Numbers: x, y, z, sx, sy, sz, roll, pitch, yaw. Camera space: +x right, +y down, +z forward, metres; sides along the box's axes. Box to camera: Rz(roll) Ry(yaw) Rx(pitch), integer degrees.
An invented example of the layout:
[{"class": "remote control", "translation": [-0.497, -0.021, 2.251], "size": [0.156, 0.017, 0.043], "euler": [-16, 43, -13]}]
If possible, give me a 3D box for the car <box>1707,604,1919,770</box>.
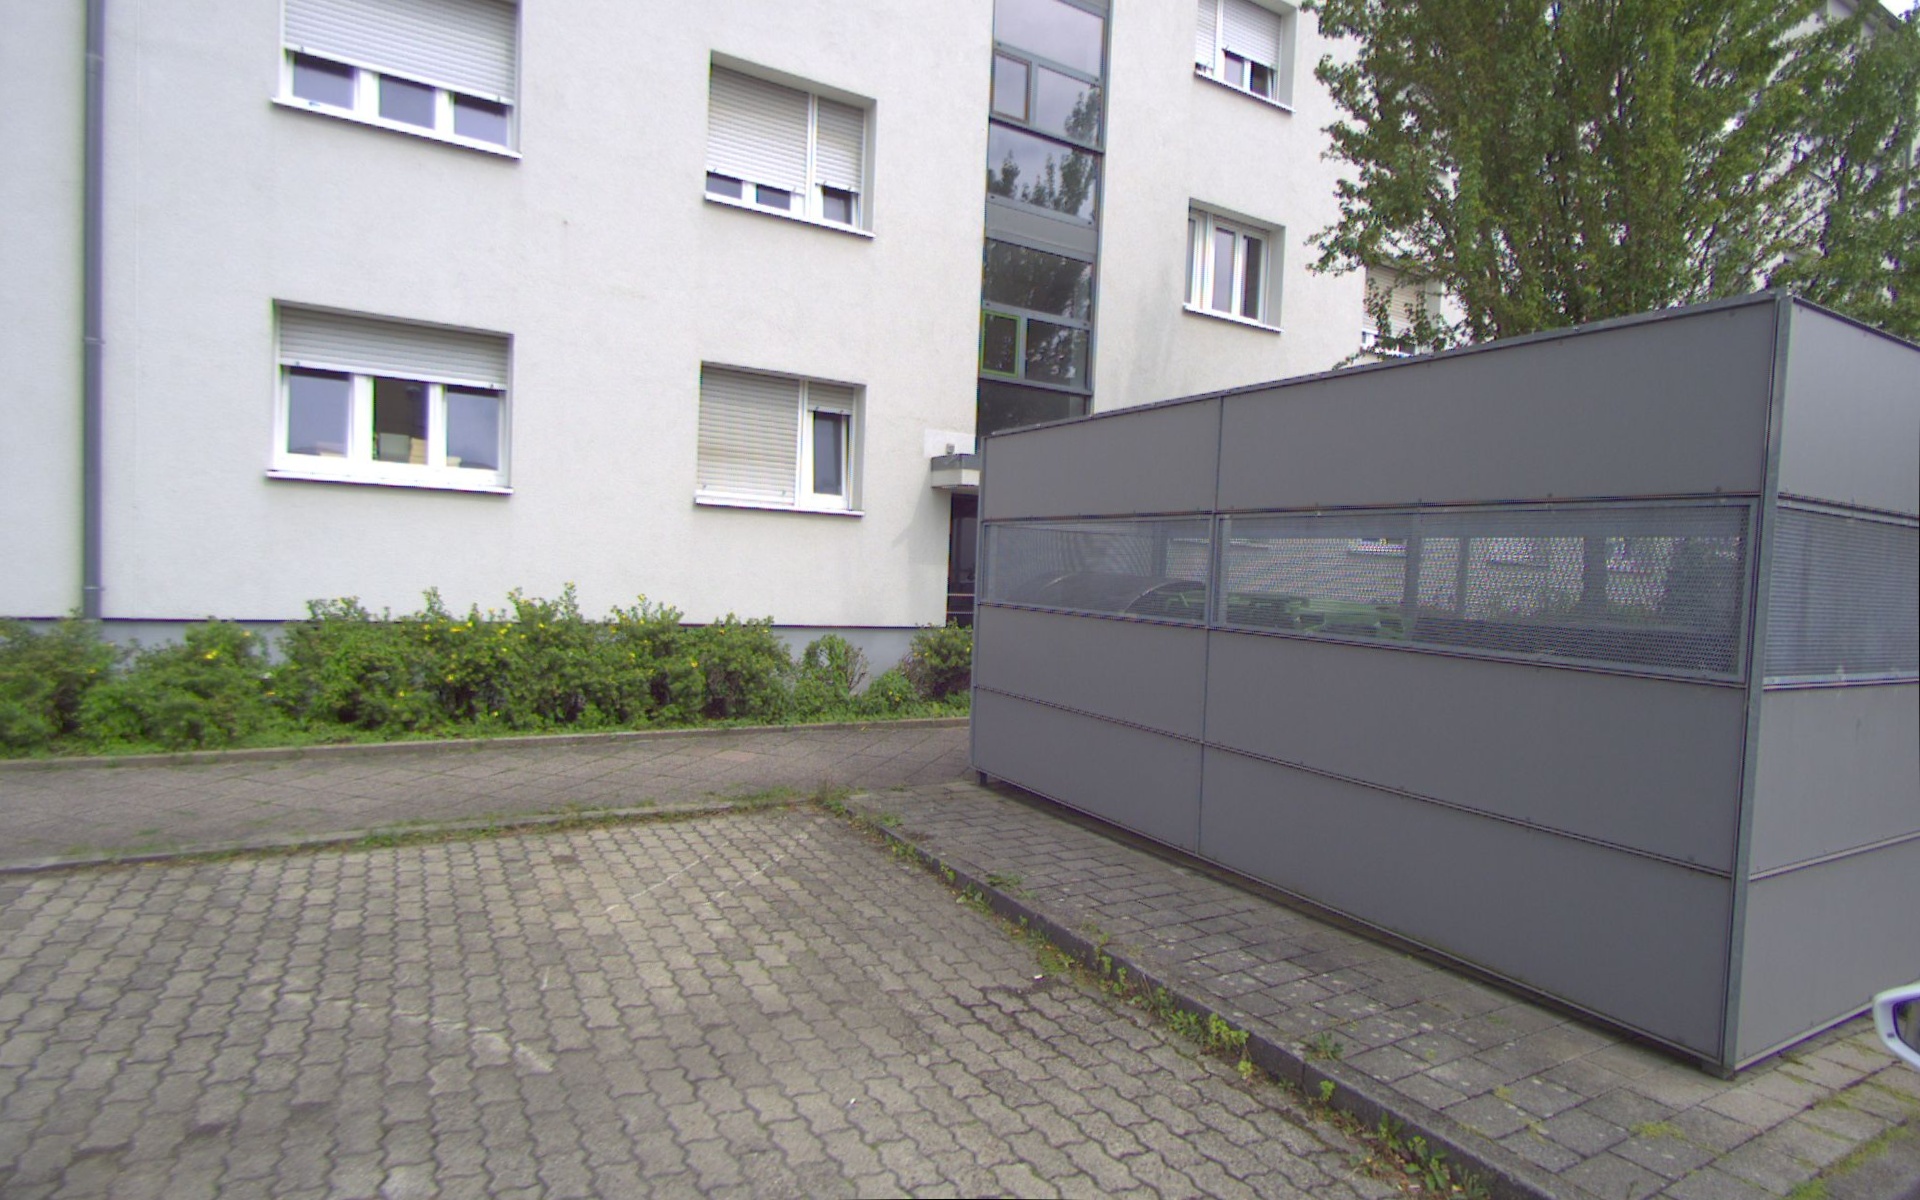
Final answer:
[{"class": "car", "translation": [9.799, 0.867, 9.888], "size": [1.693, 1.500, 3.540], "euler": [1, 1, -33]}]
